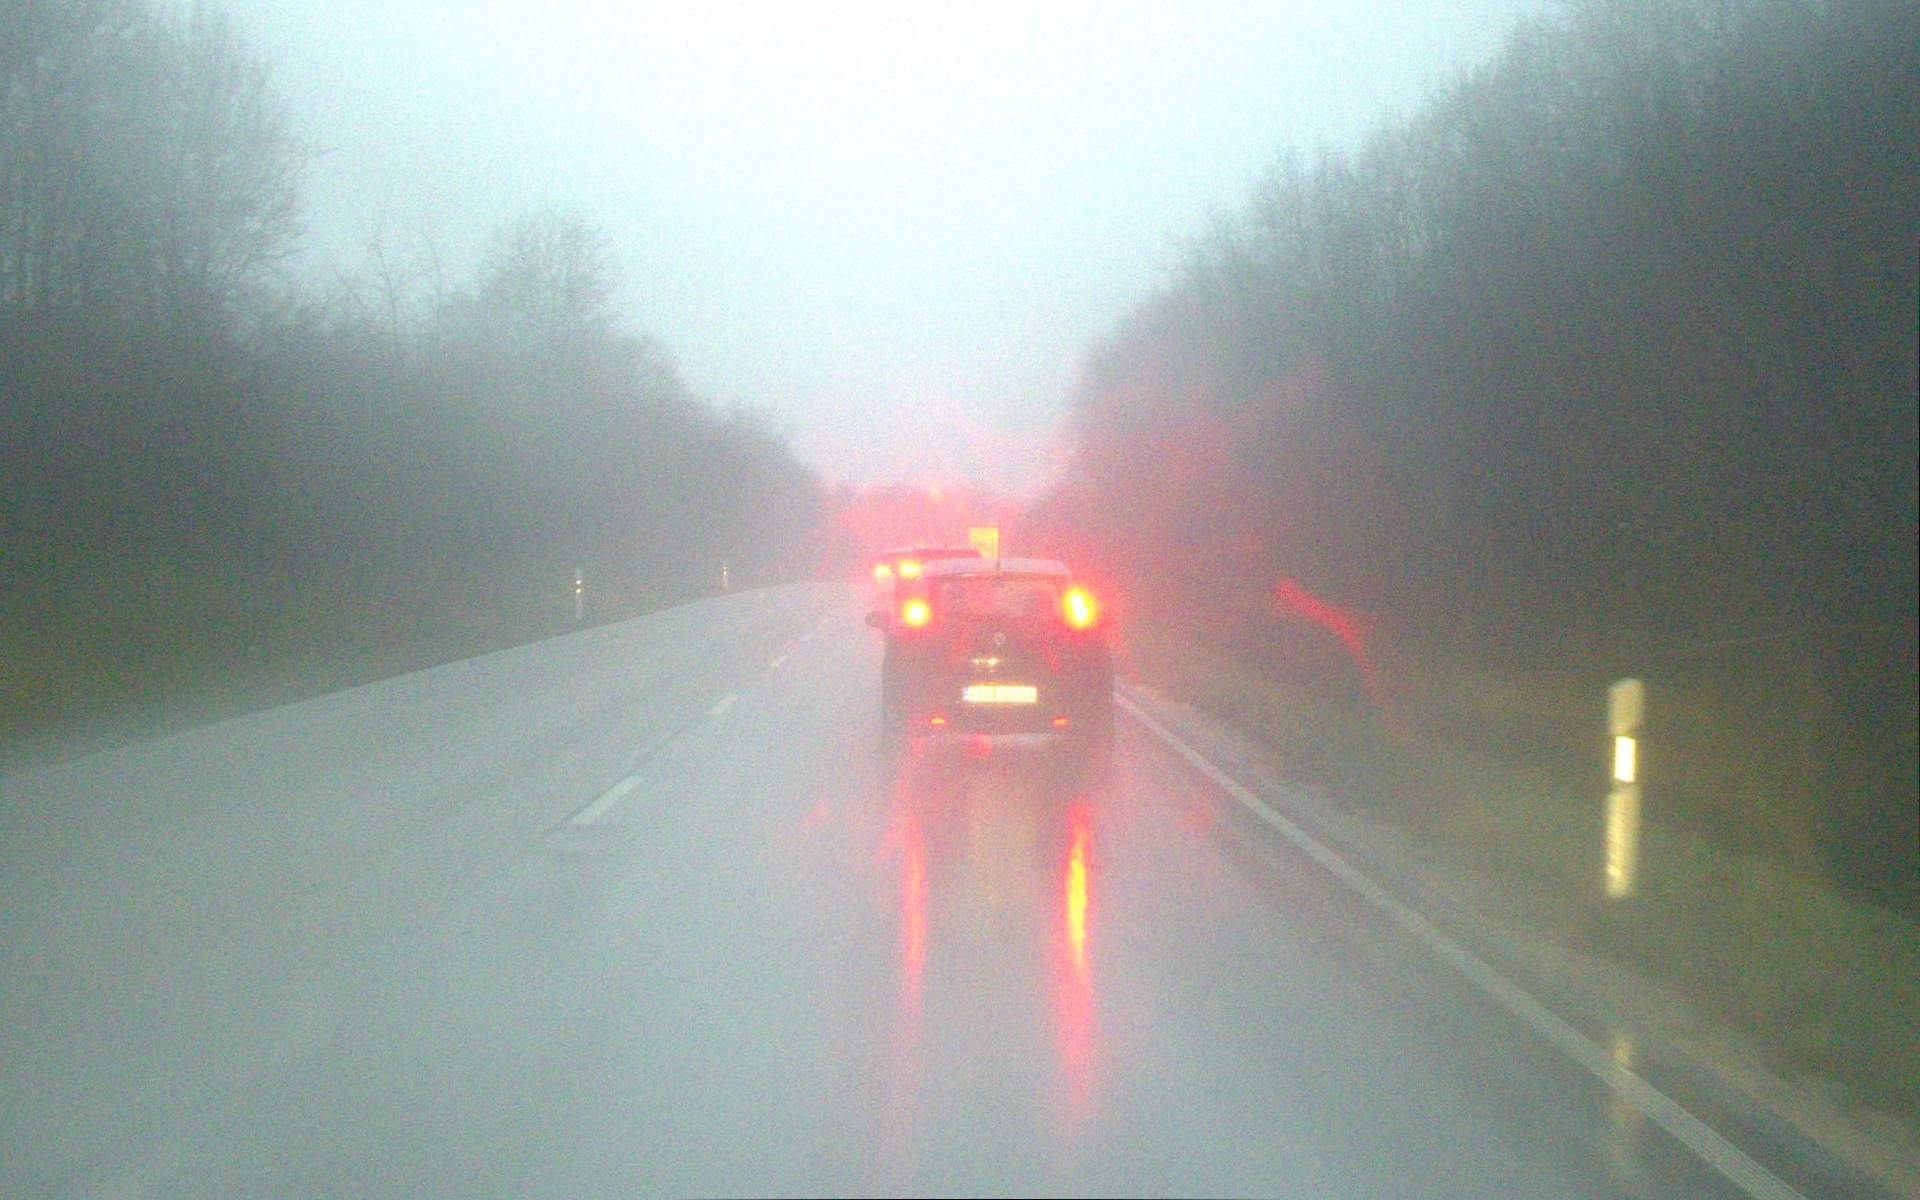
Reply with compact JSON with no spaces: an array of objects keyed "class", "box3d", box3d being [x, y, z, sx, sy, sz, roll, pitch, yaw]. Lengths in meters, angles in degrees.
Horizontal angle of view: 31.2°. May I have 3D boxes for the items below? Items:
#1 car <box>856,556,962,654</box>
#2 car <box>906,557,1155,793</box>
[{"class":"car","box3d":[-0.861,0.073,60.325,1.728,1.638,4.000,1,0,1]},{"class":"car","box3d":[0.516,0.509,26.154,1.728,1.638,4.000,1,0,1]}]
